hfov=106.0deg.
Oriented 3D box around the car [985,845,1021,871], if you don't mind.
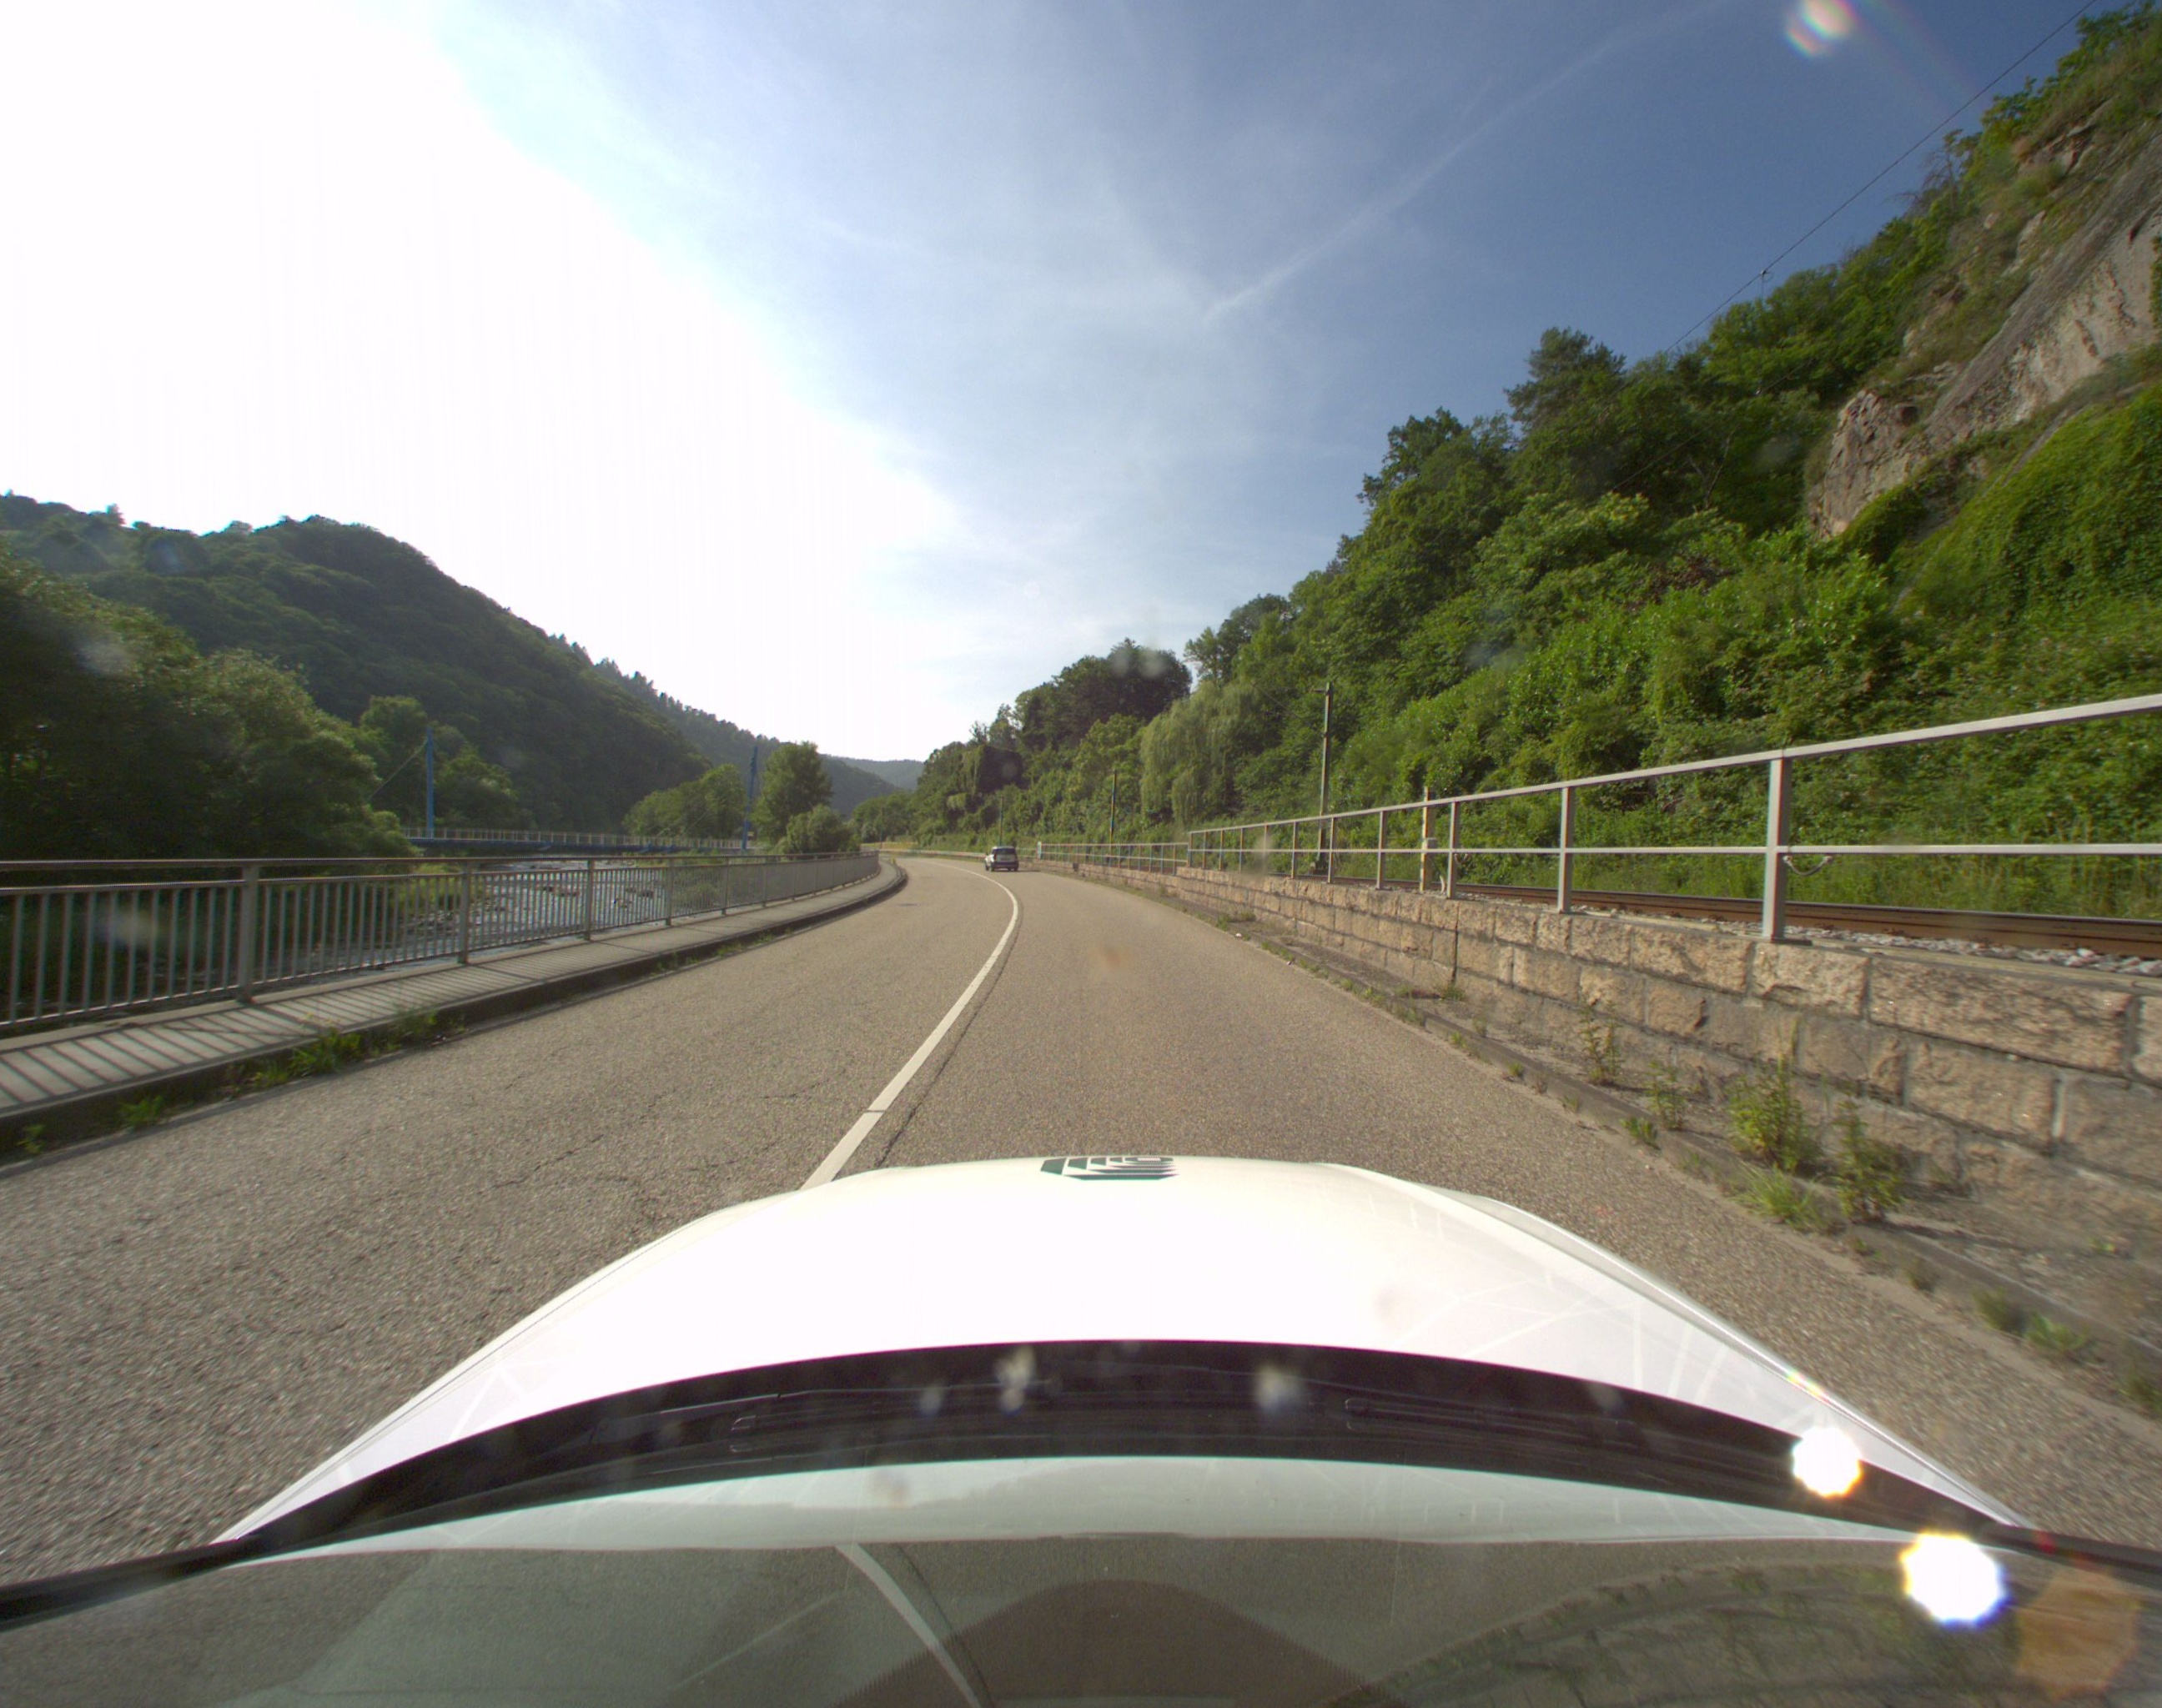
[{"bbox_3d":[-5.228,0.242,54.056,1.875,1.656,3.981,0,0,-14],"label":"car"}]
